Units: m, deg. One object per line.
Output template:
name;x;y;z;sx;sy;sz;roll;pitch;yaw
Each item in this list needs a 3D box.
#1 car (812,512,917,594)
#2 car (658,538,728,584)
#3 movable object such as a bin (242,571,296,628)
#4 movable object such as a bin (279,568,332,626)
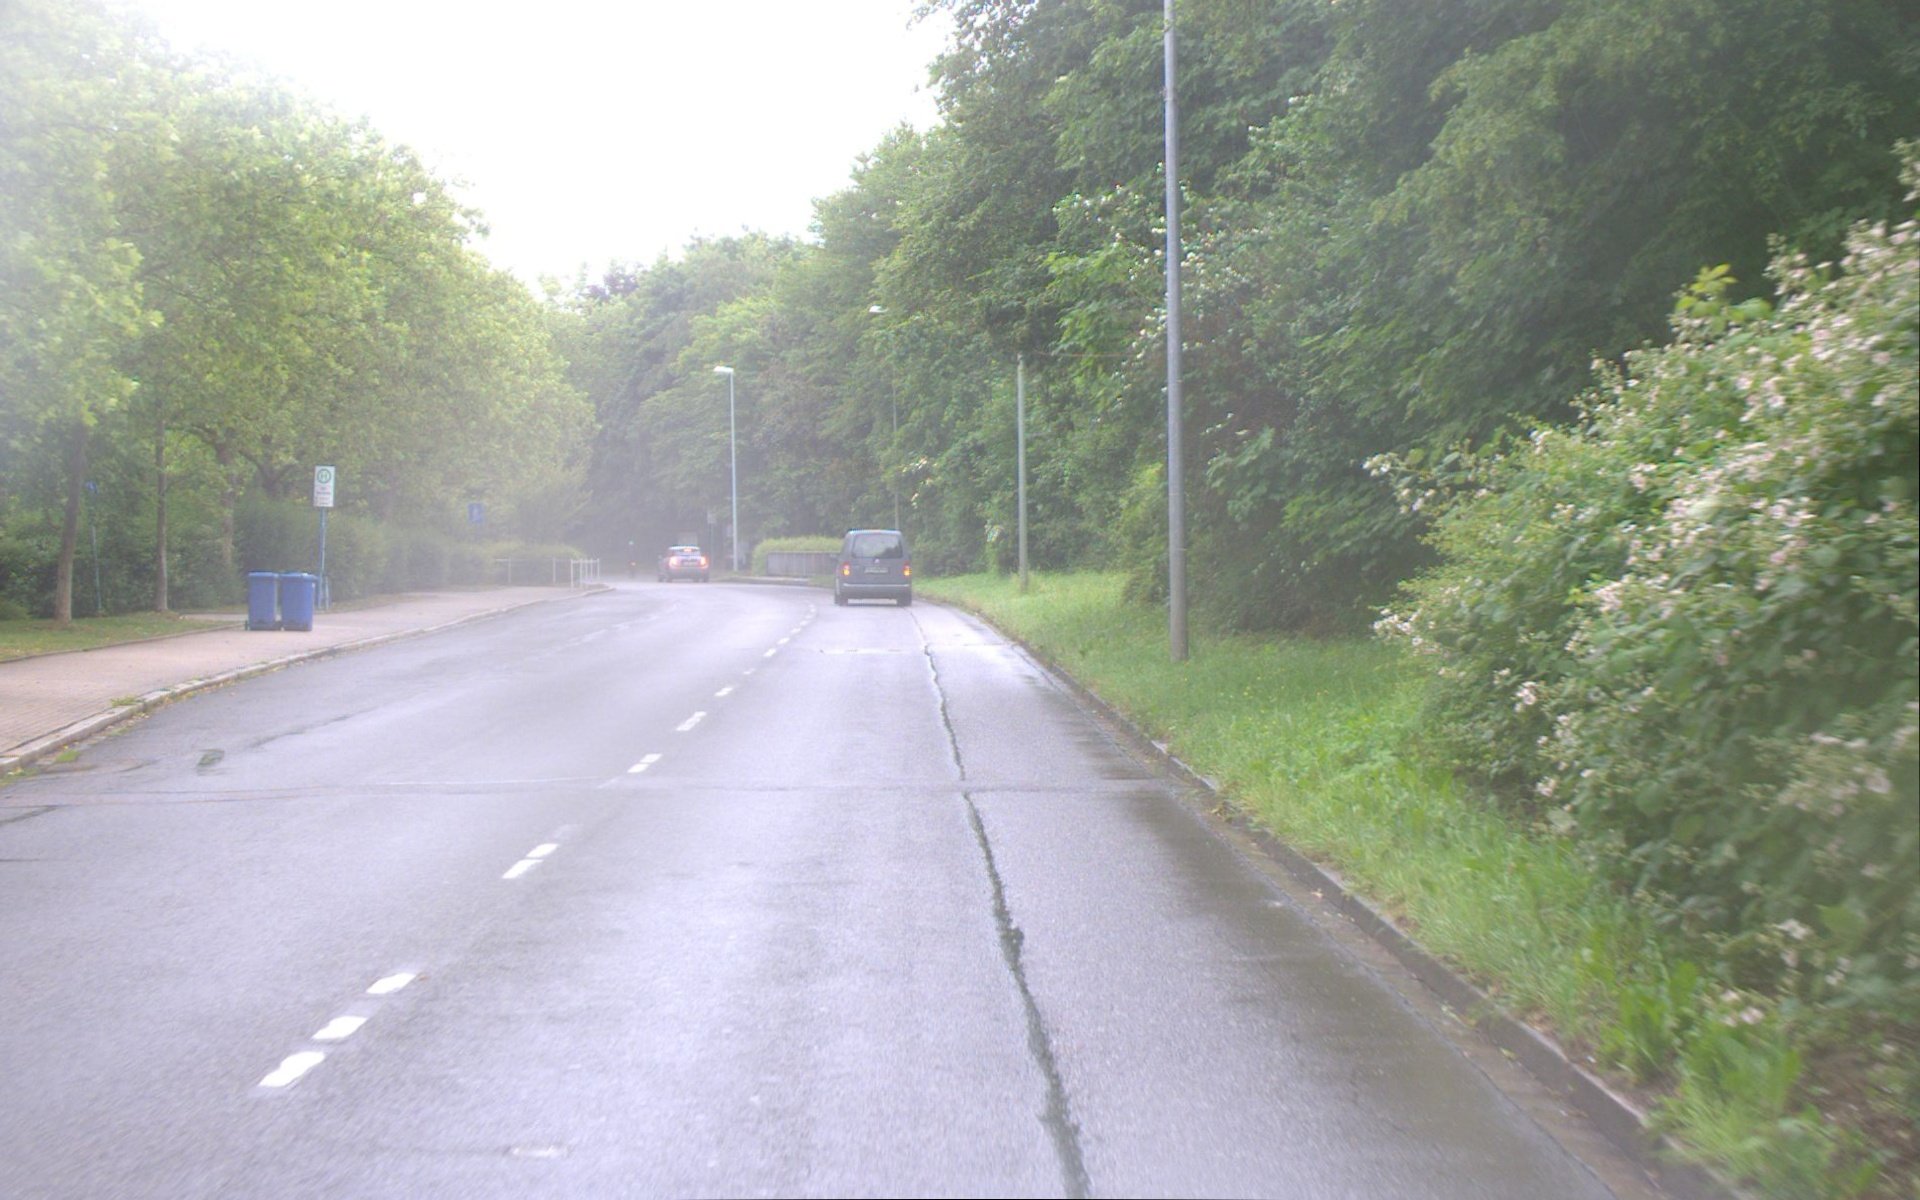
car;-2.334;-1.159;83.170;1.993;1.787;4.002;2;2;-9
car;-10.645;-1.583;136.752;1.993;1.766;4.001;-1;1;-16
movable object such as a bin;-12.732;-0.008;63.352;0.666;1.023;0.835;-3;1;-32
movable object such as a bin;-12.137;-0.056;63.721;0.666;1.023;0.835;-3;1;-32
